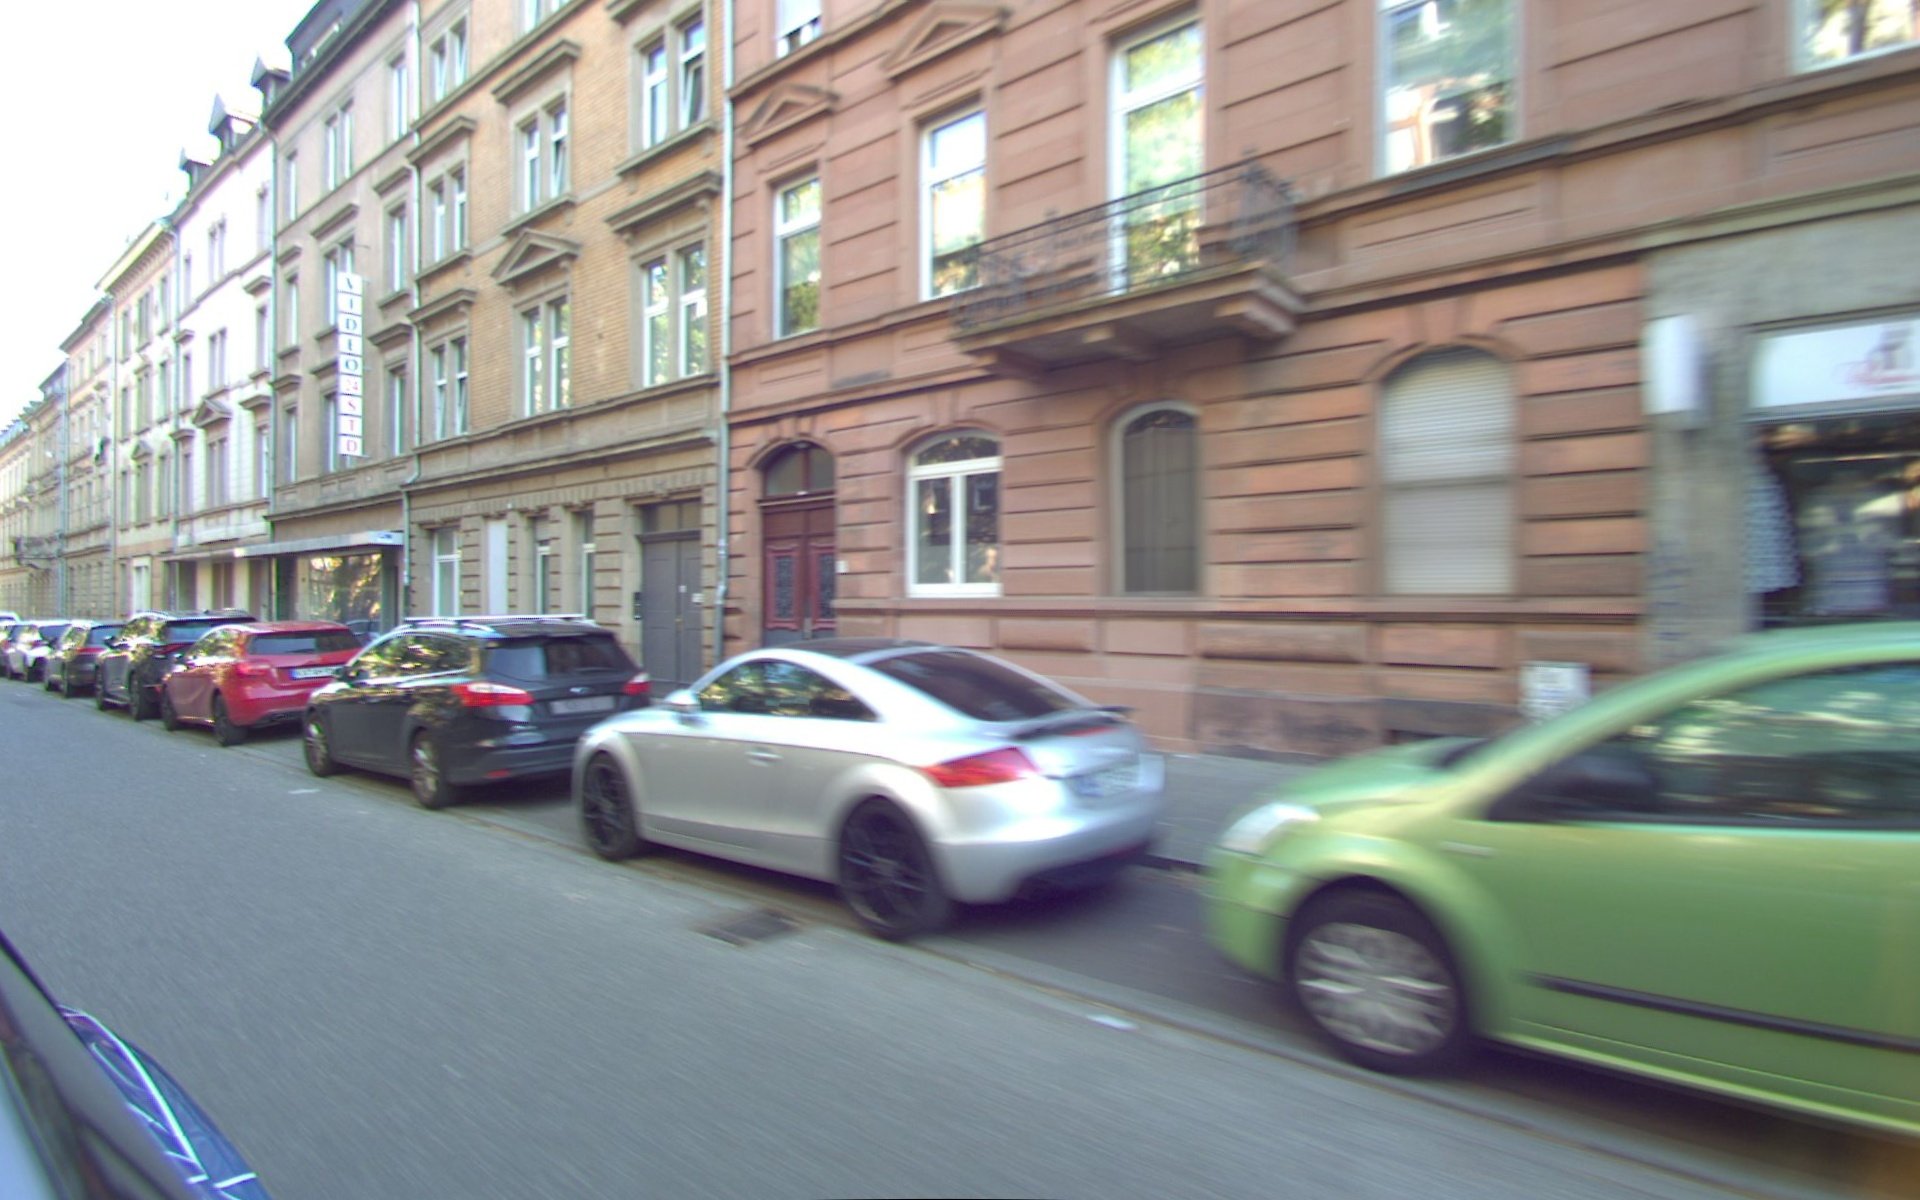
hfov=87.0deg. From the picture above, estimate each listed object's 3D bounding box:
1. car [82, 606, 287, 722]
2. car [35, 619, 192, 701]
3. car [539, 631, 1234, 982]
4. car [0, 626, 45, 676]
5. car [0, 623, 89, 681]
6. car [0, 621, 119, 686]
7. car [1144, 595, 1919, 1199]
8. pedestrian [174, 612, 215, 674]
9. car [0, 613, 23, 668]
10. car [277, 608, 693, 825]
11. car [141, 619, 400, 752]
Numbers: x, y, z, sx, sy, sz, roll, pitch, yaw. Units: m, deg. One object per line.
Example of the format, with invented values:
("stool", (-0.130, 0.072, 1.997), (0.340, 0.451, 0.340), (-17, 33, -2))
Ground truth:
("car", (-12.753, 0.960, 16.537), (4.311, 1.612, 1.802), (-1, 0, 41))
("car", (-17.309, 1.155, 20.621), (4.487, 1.483, 1.842), (-2, -1, 42))
("car", (-0.678, 0.866, 5.946), (4.099, 1.333, 1.687), (-1, -2, 41))
("car", (-30.678, 1.598, 32.230), (4.241, 1.484, 1.729), (-1, -1, 40))
("car", (-25.737, 1.381, 27.915), (4.538, 1.455, 1.867), (-1, -1, 39))
("car", (-22.575, 1.289, 25.268), (4.084, 1.483, 1.739), (-1, -1, 40))
("car", (2.720, 0.724, 3.076), (3.957, 1.450, 1.687), (-1, -2, 41))
("pedestrian", (-20.688, 1.145, 27.350), (1.017, 1.643, 0.688), (-1, -1, 40))
("car", (-34.614, 1.433, 35.635), (4.603, 1.847, 1.824), (-1, -1, 40))
("car", (-4.518, 0.874, 9.304), (4.421, 1.488, 1.802), (-1, 0, 41))
("car", (-9.329, 1.022, 13.563), (4.311, 1.436, 1.802), (-1, 0, 41))
